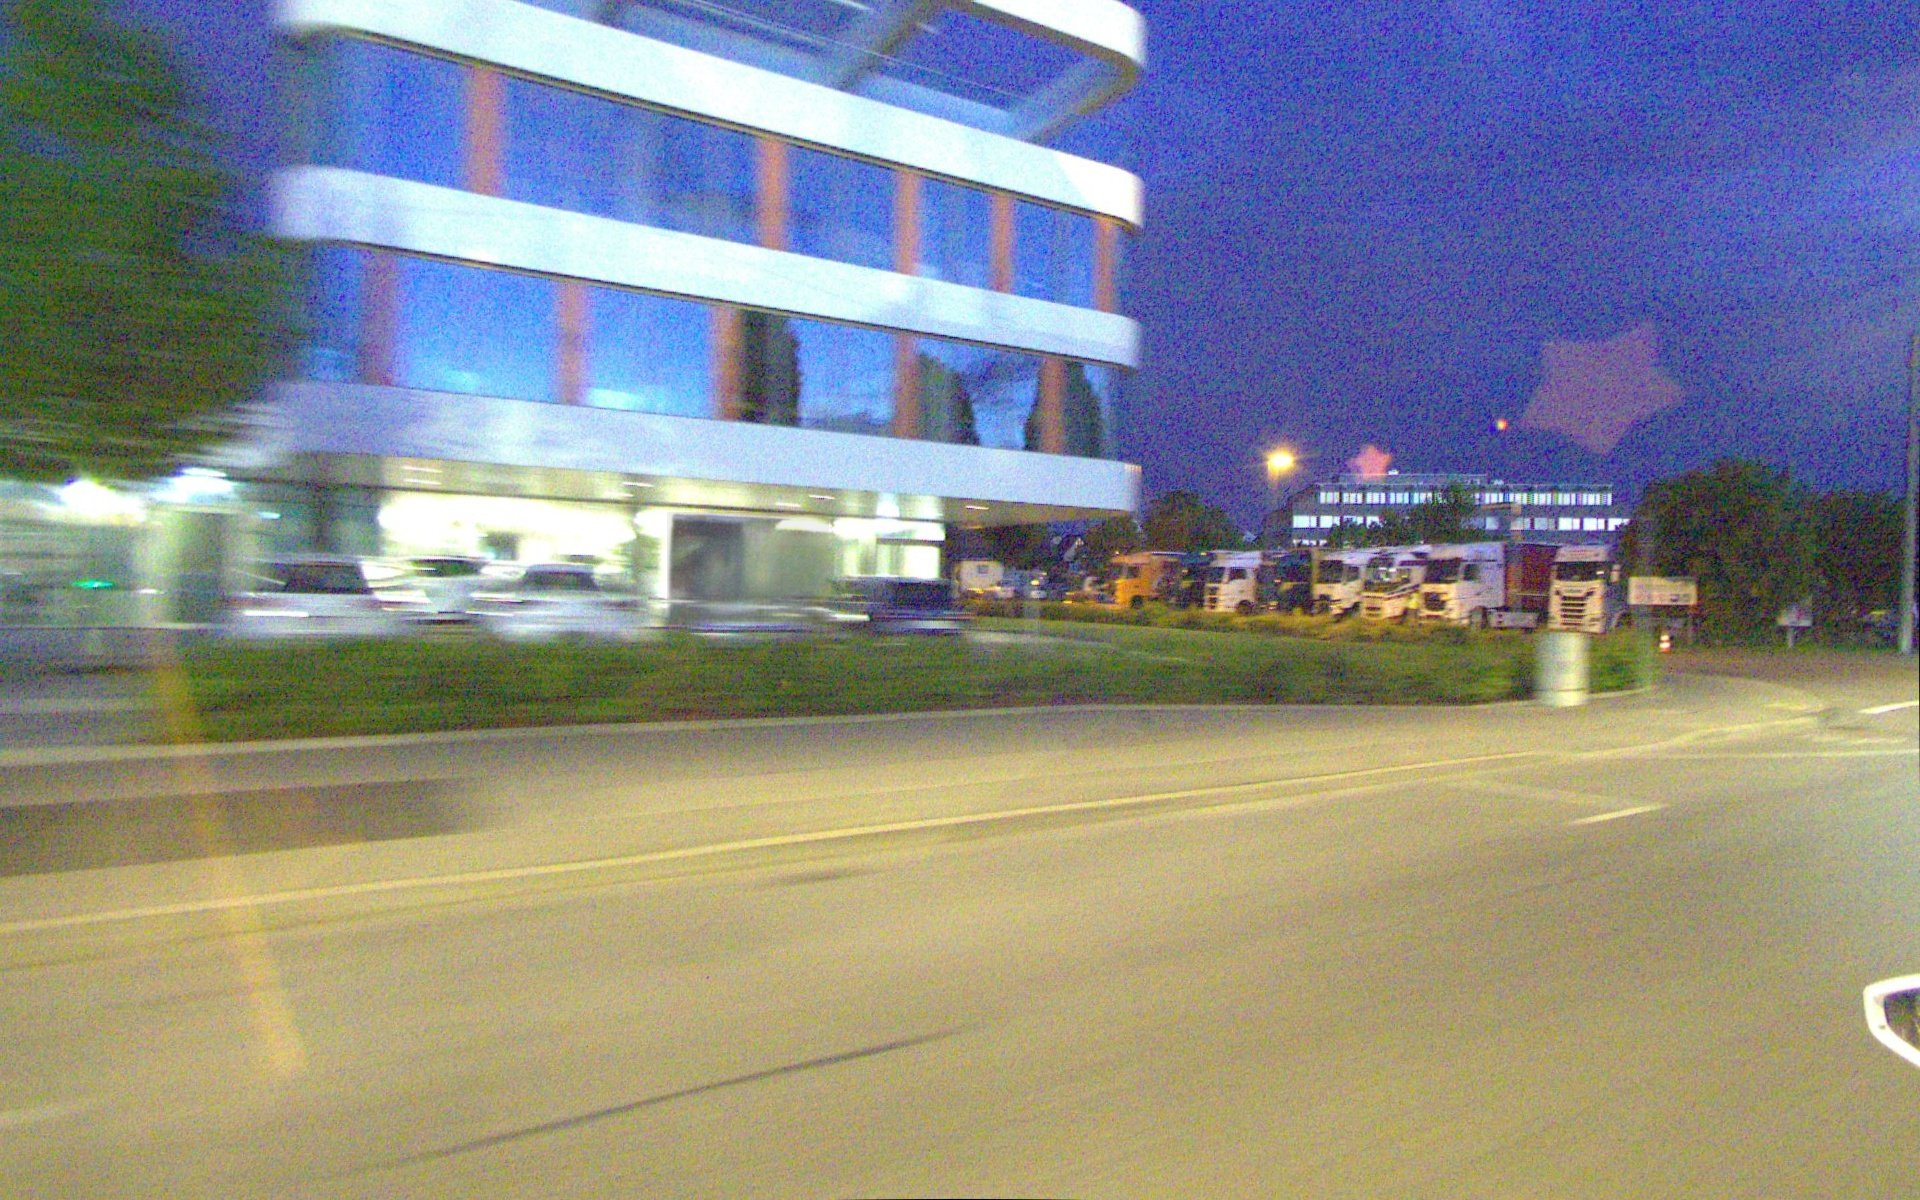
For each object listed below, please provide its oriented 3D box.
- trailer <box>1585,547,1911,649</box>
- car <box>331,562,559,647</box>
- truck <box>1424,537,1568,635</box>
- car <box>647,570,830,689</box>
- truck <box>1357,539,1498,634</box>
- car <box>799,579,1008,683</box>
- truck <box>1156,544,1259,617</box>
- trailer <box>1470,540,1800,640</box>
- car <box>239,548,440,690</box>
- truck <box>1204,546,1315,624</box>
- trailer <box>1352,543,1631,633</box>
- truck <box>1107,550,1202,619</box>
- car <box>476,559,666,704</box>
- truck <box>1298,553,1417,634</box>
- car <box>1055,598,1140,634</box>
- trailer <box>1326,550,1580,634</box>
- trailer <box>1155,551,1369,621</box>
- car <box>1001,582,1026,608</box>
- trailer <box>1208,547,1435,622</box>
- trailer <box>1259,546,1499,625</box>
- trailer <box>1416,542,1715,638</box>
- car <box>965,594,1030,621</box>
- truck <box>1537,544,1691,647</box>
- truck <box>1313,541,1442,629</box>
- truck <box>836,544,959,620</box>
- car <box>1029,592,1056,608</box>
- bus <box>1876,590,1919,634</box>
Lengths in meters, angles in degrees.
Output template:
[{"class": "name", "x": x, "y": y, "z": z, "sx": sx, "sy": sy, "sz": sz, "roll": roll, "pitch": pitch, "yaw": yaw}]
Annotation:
[{"class": "trailer", "x": 34.160, "y": -0.011, "z": 43.410, "sx": 14.759, "sy": 3.985, "sz": 3.057, "roll": 1, "pitch": 1, "yaw": -17}, {"class": "car", "x": -10.906, "y": 0.093, "z": 21.513, "sx": 4.149, "sy": 1.663, "sz": 1.986, "roll": 1, "pitch": 1, "yaw": -27}, {"class": "truck", "x": 24.395, "y": -0.635, "z": 45.896, "sx": 4.847, "sy": 4.204, "sz": 3.062, "roll": 1, "pitch": 1, "yaw": -10}, {"class": "car", "x": -3.603, "y": 0.390, "z": 15.771, "sx": 1.818, "sy": 1.600, "sz": 4.116, "roll": 1, "pitch": 0, "yaw": -27}, {"class": "truck", "x": 22.999, "y": -0.650, "z": 49.592, "sx": 5.467, "sy": 4.416, "sz": 3.061, "roll": 1, "pitch": 1, "yaw": -11}, {"class": "car", "x": -1.103, "y": 0.445, "z": 16.714, "sx": 2.033, "sy": 1.472, "sz": 4.436, "roll": 1, "pitch": 0, "yaw": -24}, {"class": "truck", "x": 15.720, "y": -1.242, "z": 63.977, "sx": 5.472, "sy": 4.416, "sz": 3.059, "roll": 1, "pitch": 1, "yaw": -14}, {"class": "trailer", "x": 31.638, "y": -0.420, "z": 47.171, "sx": 14.732, "sy": 4.204, "sz": 3.062, "roll": 1, "pitch": 1, "yaw": -10}, {"class": "car", "x": -7.805, "y": 0.202, "z": 13.018, "sx": 1.827, "sy": 1.498, "sz": 4.387, "roll": 1, "pitch": 0, "yaw": -27}, {"class": "truck", "x": 17.914, "y": -0.896, "z": 60.229, "sx": 5.472, "sy": 4.416, "sz": 3.059, "roll": 1, "pitch": 1, "yaw": -14}, {"class": "trailer", "x": 28.968, "y": -0.590, "z": 54.766, "sx": 14.737, "sy": 4.416, "sz": 3.061, "roll": 1, "pitch": 1, "yaw": -11}, {"class": "truck", "x": 13.113, "y": -1.055, "z": 67.953, "sx": 5.472, "sy": 4.416, "sz": 3.059, "roll": 1, "pitch": 1, "yaw": -14}, {"class": "car", "x": -5.626, "y": 0.366, "z": 14.161, "sx": 1.938, "sy": 1.703, "sz": 4.385, "roll": 1, "pitch": 0, "yaw": -29}, {"class": "truck", "x": 22.580, "y": -0.372, "z": 57.230, "sx": 5.472, "sy": 4.416, "sz": 3.059, "roll": 1, "pitch": 1, "yaw": -14}, {"class": "car", "x": 6.458, "y": 0.746, "z": 47.469, "sx": 1.871, "sy": 1.573, "sz": 3.963, "roll": 1, "pitch": 0, "yaw": -33}, {"class": "trailer", "x": 28.882, "y": -0.423, "z": 58.806, "sx": 14.747, "sy": 4.416, "sz": 3.059, "roll": 1, "pitch": 1, "yaw": -14}, {"class": "trailer", "x": 21.084, "y": -0.903, "z": 70.003, "sx": 14.748, "sy": 4.416, "sz": 3.059, "roll": 1, "pitch": 1, "yaw": -14}, {"class": "car", "x": 4.493, "y": -0.417, "z": 84.180, "sx": 1.960, "sy": 2.041, "sz": 4.654, "roll": 1, "pitch": 1, "yaw": 2}, {"class": "trailer", "x": 23.808, "y": -0.969, "z": 66.055, "sx": 14.748, "sy": 4.416, "sz": 3.059, "roll": 1, "pitch": 1, "yaw": -14}, {"class": "trailer", "x": 26.041, "y": -0.842, "z": 62.297, "sx": 14.748, "sy": 4.416, "sz": 3.059, "roll": 1, "pitch": 1, "yaw": -14}, {"class": "trailer", "x": 30.805, "y": -0.452, "z": 51.148, "sx": 14.737, "sy": 4.416, "sz": 3.061, "roll": 1, "pitch": 1, "yaw": -11}, {"class": "car", "x": 2.042, "y": 0.402, "z": 56.217, "sx": 1.676, "sy": 1.385, "sz": 3.963, "roll": 1, "pitch": 0, "yaw": -33}, {"class": "truck", "x": 26.749, "y": -0.170, "z": 41.182, "sx": 4.430, "sy": 3.985, "sz": 3.057, "roll": 1, "pitch": 1, "yaw": -17}, {"class": "truck", "x": 22.116, "y": -0.784, "z": 53.388, "sx": 5.468, "sy": 4.416, "sz": 3.061, "roll": 1, "pitch": 1, "yaw": -11}, {"class": "truck", "x": -4.536, "y": -1.108, "z": 68.137, "sx": 3.534, "sy": 4.611, "sz": 12.503, "roll": 1, "pitch": 0, "yaw": -27}, {"class": "car", "x": 6.885, "y": -0.032, "z": 84.391, "sx": 1.645, "sy": 1.298, "sz": 3.528, "roll": 1, "pitch": 1, "yaw": -6}, {"class": "bus", "x": 76.697, "y": 0.938, "z": 77.234, "sx": 12.458, "sy": 3.247, "sz": 3.013, "roll": 0, "pitch": 0, "yaw": -15}]
